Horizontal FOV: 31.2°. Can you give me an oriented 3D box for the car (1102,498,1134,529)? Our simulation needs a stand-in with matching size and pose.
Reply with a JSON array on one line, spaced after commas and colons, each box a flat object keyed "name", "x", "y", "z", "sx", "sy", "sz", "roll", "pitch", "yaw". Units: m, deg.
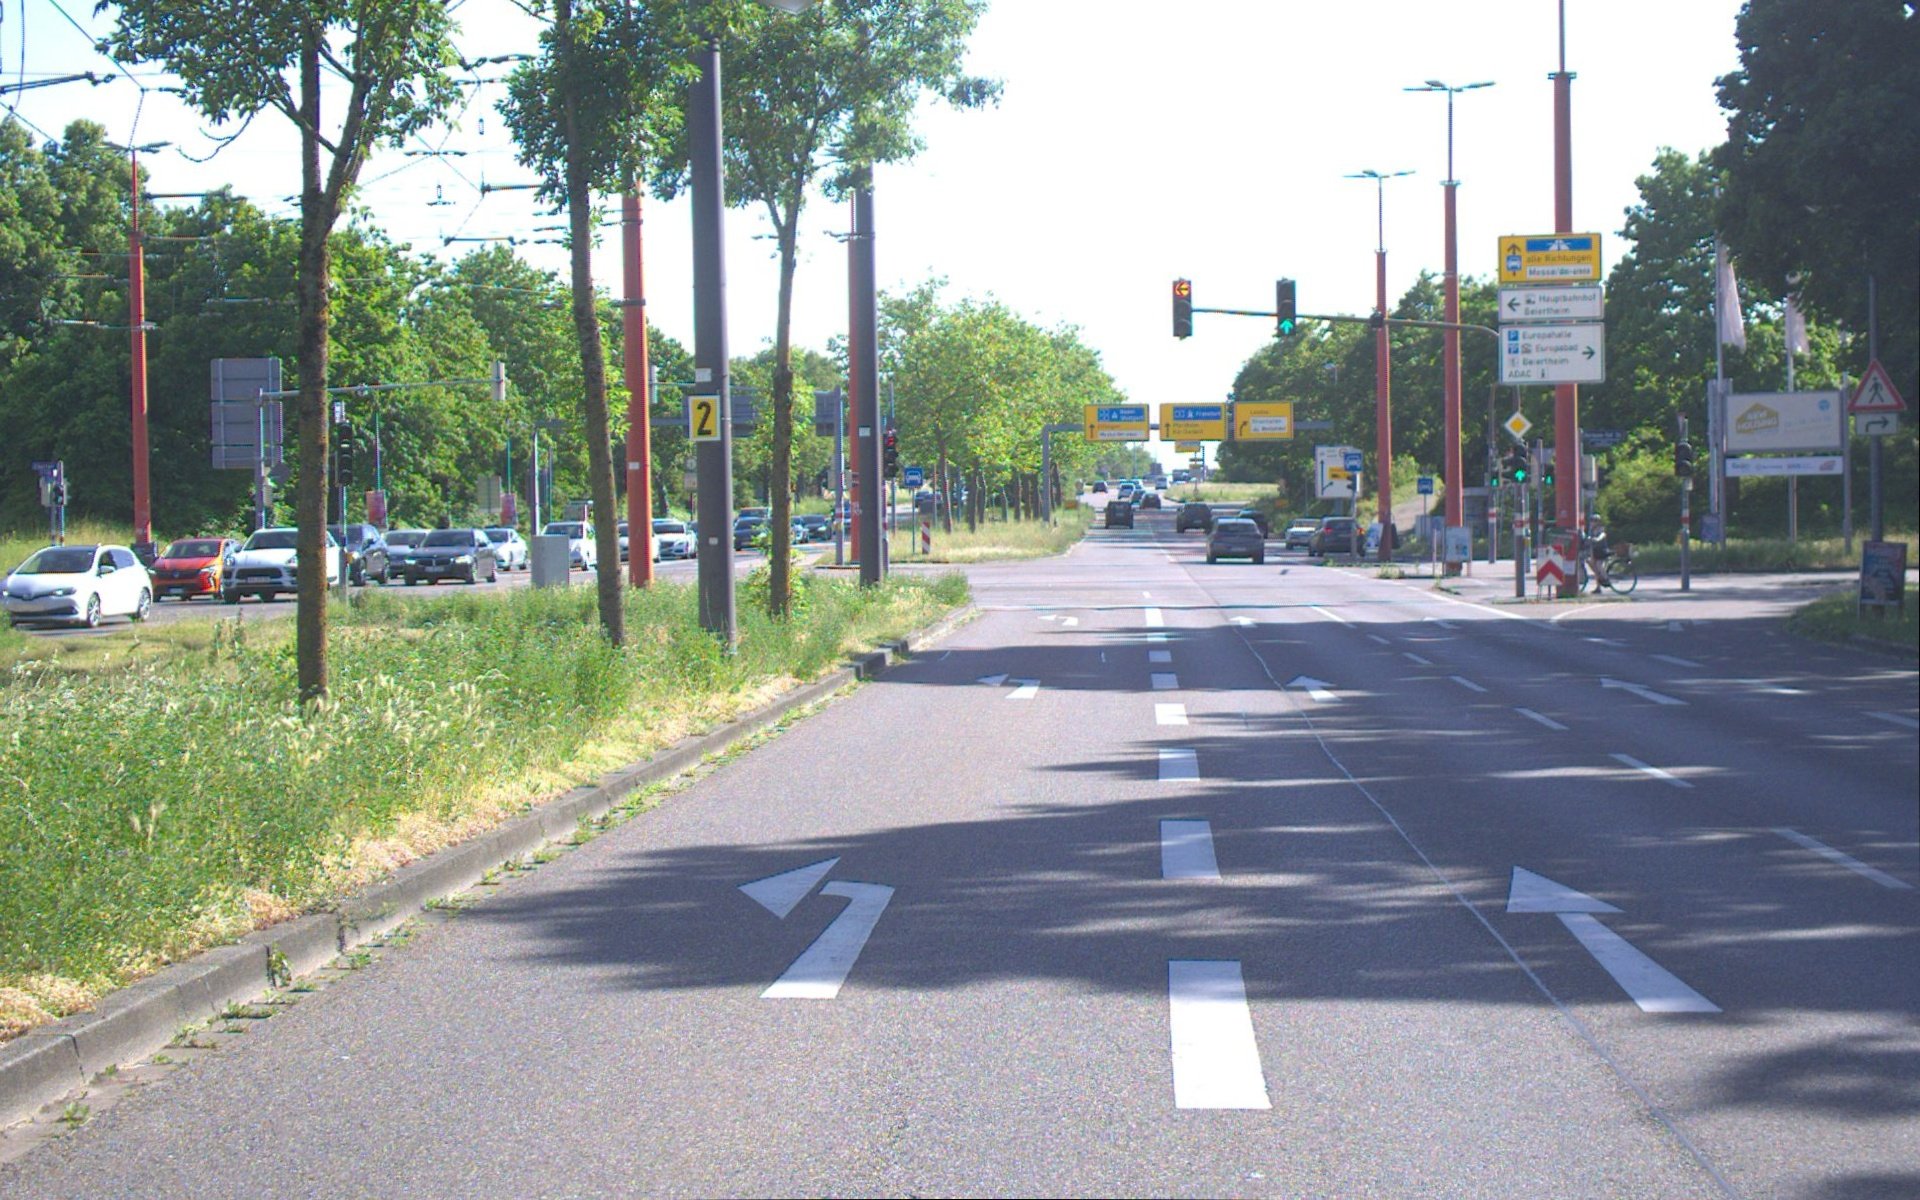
[{"name": "car", "x": 10.290, "y": -5.622, "z": 224.022, "sx": 1.993, "sy": 2.007, "sz": 4.000, "roll": 1, "pitch": 1, "yaw": 2}]

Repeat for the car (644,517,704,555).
[{"name": "car", "x": -11.046, "y": -2.483, "z": 133.188, "sx": 1.704, "sy": 1.418, "sz": 4.643, "roll": -1, "pitch": 1, "yaw": 3}]

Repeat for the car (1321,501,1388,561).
[{"name": "car", "x": 12.754, "y": -2.224, "z": 110.915, "sx": 1.994, "sy": 1.881, "sz": 3.999, "roll": 0, "pitch": 1, "yaw": 9}]

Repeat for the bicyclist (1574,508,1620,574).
[{"name": "bicyclist", "x": 12.991, "y": -1.212, "z": 70.137, "sx": 0.739, "sy": 1.337, "sz": 0.708, "roll": 0, "pitch": 1, "yaw": -7}]

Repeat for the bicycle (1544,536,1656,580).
[{"name": "bicycle", "x": 13.062, "y": -0.855, "z": 70.184, "sx": 2.161, "sy": 0.875, "sz": 0.560, "roll": 0, "pitch": 1, "yaw": -8}]

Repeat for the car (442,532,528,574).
[{"name": "car", "x": -16.051, "y": -1.600, "z": 116.326, "sx": 1.994, "sy": 1.369, "sz": 4.400, "roll": 1, "pitch": 1, "yaw": 4}]

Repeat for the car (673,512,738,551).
[{"name": "car", "x": -10.552, "y": -2.856, "z": 142.881, "sx": 1.994, "sy": 1.589, "sz": 4.463, "roll": -1, "pitch": 1, "yaw": 5}]

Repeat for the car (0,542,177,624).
[{"name": "car", "x": -15.895, "y": -0.336, "z": 62.080, "sx": 1.900, "sy": 1.393, "sz": 4.542, "roll": 1, "pitch": 1, "yaw": 8}]

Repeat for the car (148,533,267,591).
[{"name": "car", "x": -17.316, "y": -0.896, "z": 79.288, "sx": 1.657, "sy": 1.293, "sz": 4.177, "roll": 1, "pitch": 1, "yaw": 2}]

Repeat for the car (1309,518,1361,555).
[{"name": "car", "x": 13.998, "y": -2.380, "z": 128.435, "sx": 1.738, "sy": 1.337, "sz": 3.081, "roll": 0, "pitch": 1, "yaw": 3}]

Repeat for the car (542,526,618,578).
[{"name": "car", "x": -12.113, "y": -1.544, "z": 109.741, "sx": 1.763, "sy": 1.603, "sz": 3.757, "roll": -1, "pitch": 1, "yaw": 4}]

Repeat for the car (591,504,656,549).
[{"name": "car", "x": -11.998, "y": -2.641, "z": 122.826, "sx": 1.589, "sy": 1.467, "sz": 4.182, "roll": -2, "pitch": 2, "yaw": 4}]

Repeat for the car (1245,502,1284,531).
[{"name": "car", "x": 16.948, "y": -4.663, "z": 191.502, "sx": 1.994, "sy": 1.535, "sz": 4.000, "roll": 1, "pitch": 0, "yaw": 3}]

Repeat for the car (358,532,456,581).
[{"name": "car", "x": -16.657, "y": -1.332, "z": 103.793, "sx": 1.994, "sy": 1.427, "sz": 4.694, "roll": -1, "pitch": 1, "yaw": 2}]

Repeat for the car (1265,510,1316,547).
[{"name": "car", "x": 14.203, "y": -3.074, "z": 147.969, "sx": 1.994, "sy": 1.535, "sz": 4.000, "roll": 1, "pitch": 1, "yaw": 3}]

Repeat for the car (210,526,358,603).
[{"name": "car", "x": -14.704, "y": -0.805, "z": 75.051, "sx": 1.895, "sy": 1.616, "sz": 4.656, "roll": 1, "pitch": 1, "yaw": 6}]

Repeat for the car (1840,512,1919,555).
[{"name": "car", "x": 30.831, "y": -2.151, "z": 111.026, "sx": 4.378, "sy": 1.366, "sz": 2.061, "roll": 0, "pitch": 1, "yaw": 5}]

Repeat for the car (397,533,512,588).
[{"name": "car", "x": -13.529, "y": -1.078, "z": 92.333, "sx": 1.994, "sy": 1.404, "sz": 4.990, "roll": 1, "pitch": 1, "yaw": 4}]

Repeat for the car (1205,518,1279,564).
[{"name": "car", "x": 9.284, "y": -1.951, "z": 113.388, "sx": 1.993, "sy": 1.491, "sz": 4.000, "roll": 0, "pitch": 1, "yaw": -1}]

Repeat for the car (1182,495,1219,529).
[{"name": "car", "x": 14.562, "y": -5.350, "z": 208.743, "sx": 2.155, "sy": 2.007, "sz": 4.000, "roll": 0, "pitch": 1, "yaw": 3}]

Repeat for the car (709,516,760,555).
[{"name": "car", "x": -10.264, "y": -2.939, "z": 156.626, "sx": 1.801, "sy": 1.701, "sz": 4.059, "roll": -1, "pitch": 1, "yaw": 3}]
